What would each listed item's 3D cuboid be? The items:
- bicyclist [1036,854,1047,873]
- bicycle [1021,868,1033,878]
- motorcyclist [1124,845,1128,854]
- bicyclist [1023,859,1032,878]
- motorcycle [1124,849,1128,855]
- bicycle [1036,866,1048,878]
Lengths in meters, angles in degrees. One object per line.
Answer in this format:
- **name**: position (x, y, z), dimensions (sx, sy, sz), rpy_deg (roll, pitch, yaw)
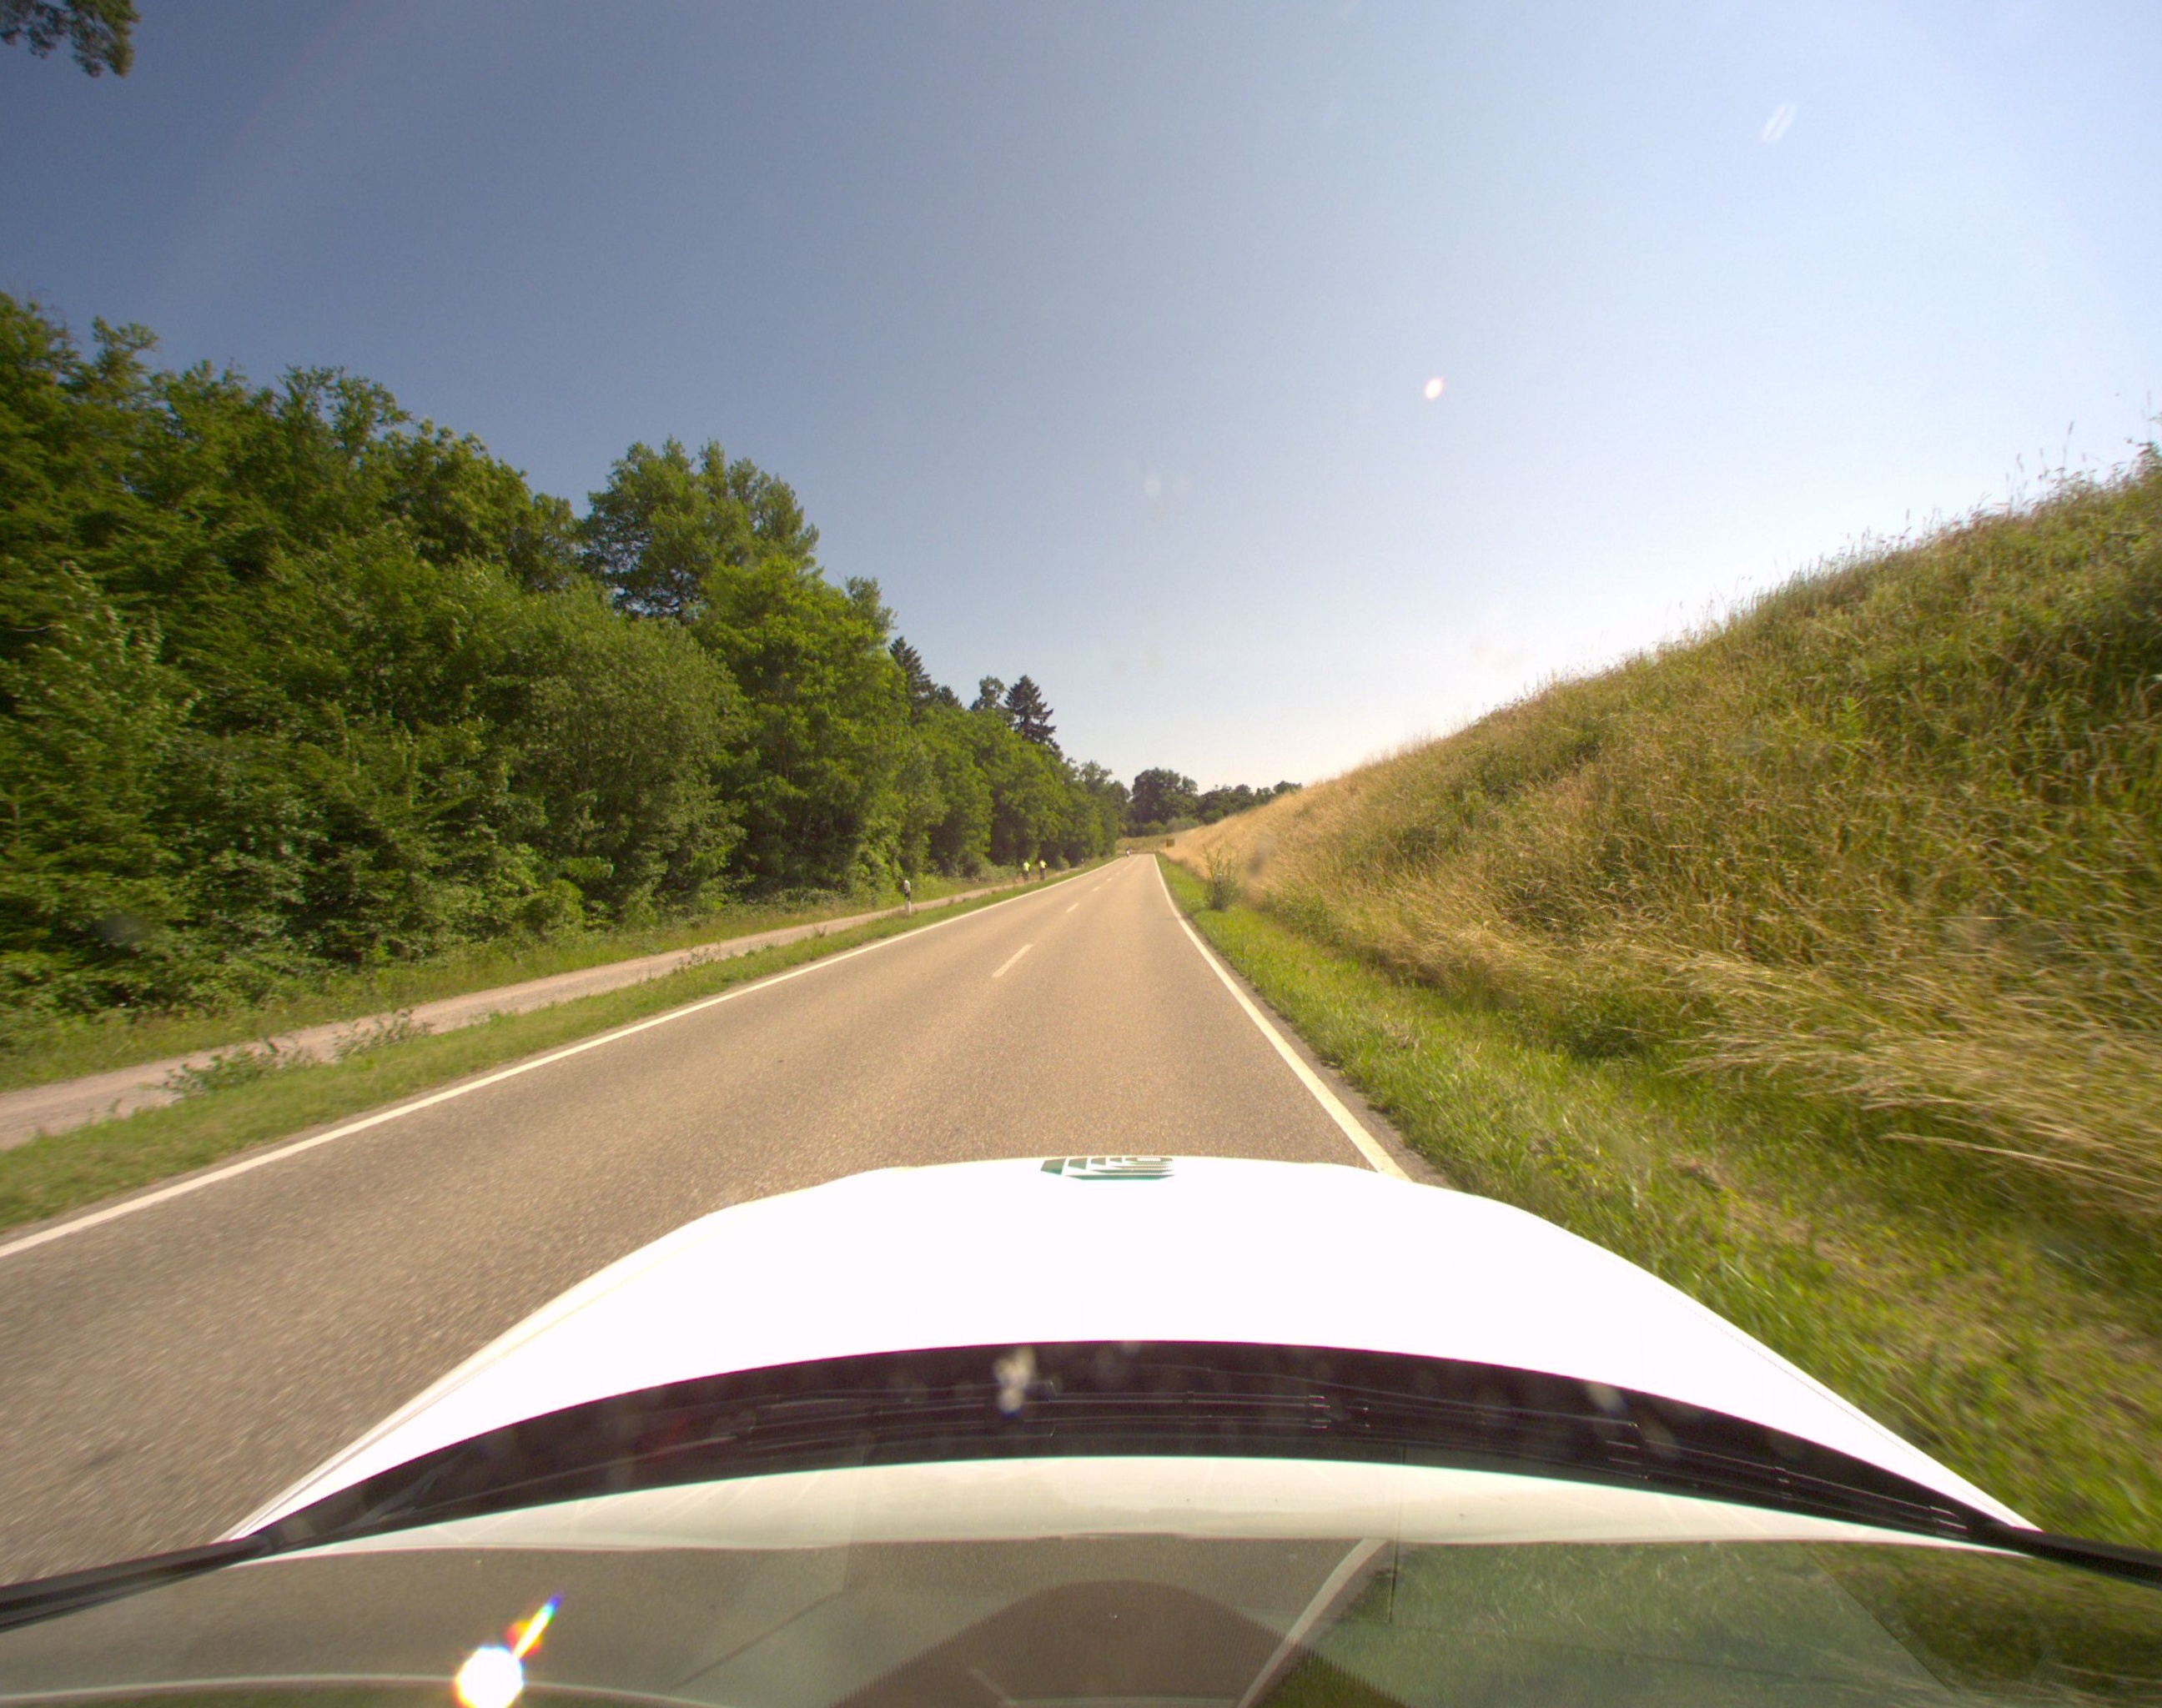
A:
- **bicyclist**: position (-3.030, 0.742, 62.376), dimensions (0.602, 1.415, 0.703), rpy_deg (-4, 0, 5)
- **bicycle**: position (-4.147, 1.448, 62.796), dimensions (0.616, 0.681, 2.140), rpy_deg (-4, 0, 5)
- **motorcyclist**: position (7.727, -0.797, 140.150), dimensions (0.657, 1.528, 0.814), rpy_deg (-3, -1, 3)
- **bicyclist**: position (-4.147, 1.125, 62.875), dimensions (0.602, 1.415, 0.703), rpy_deg (-1, -2, 5)
- **motorcycle**: position (7.751, -0.412, 139.844), dimensions (0.636, 0.984, 2.009), rpy_deg (-4, 0, 4)
- **bicycle**: position (-2.991, 1.365, 62.422), dimensions (0.637, 0.788, 2.140), rpy_deg (-4, 0, 5)
